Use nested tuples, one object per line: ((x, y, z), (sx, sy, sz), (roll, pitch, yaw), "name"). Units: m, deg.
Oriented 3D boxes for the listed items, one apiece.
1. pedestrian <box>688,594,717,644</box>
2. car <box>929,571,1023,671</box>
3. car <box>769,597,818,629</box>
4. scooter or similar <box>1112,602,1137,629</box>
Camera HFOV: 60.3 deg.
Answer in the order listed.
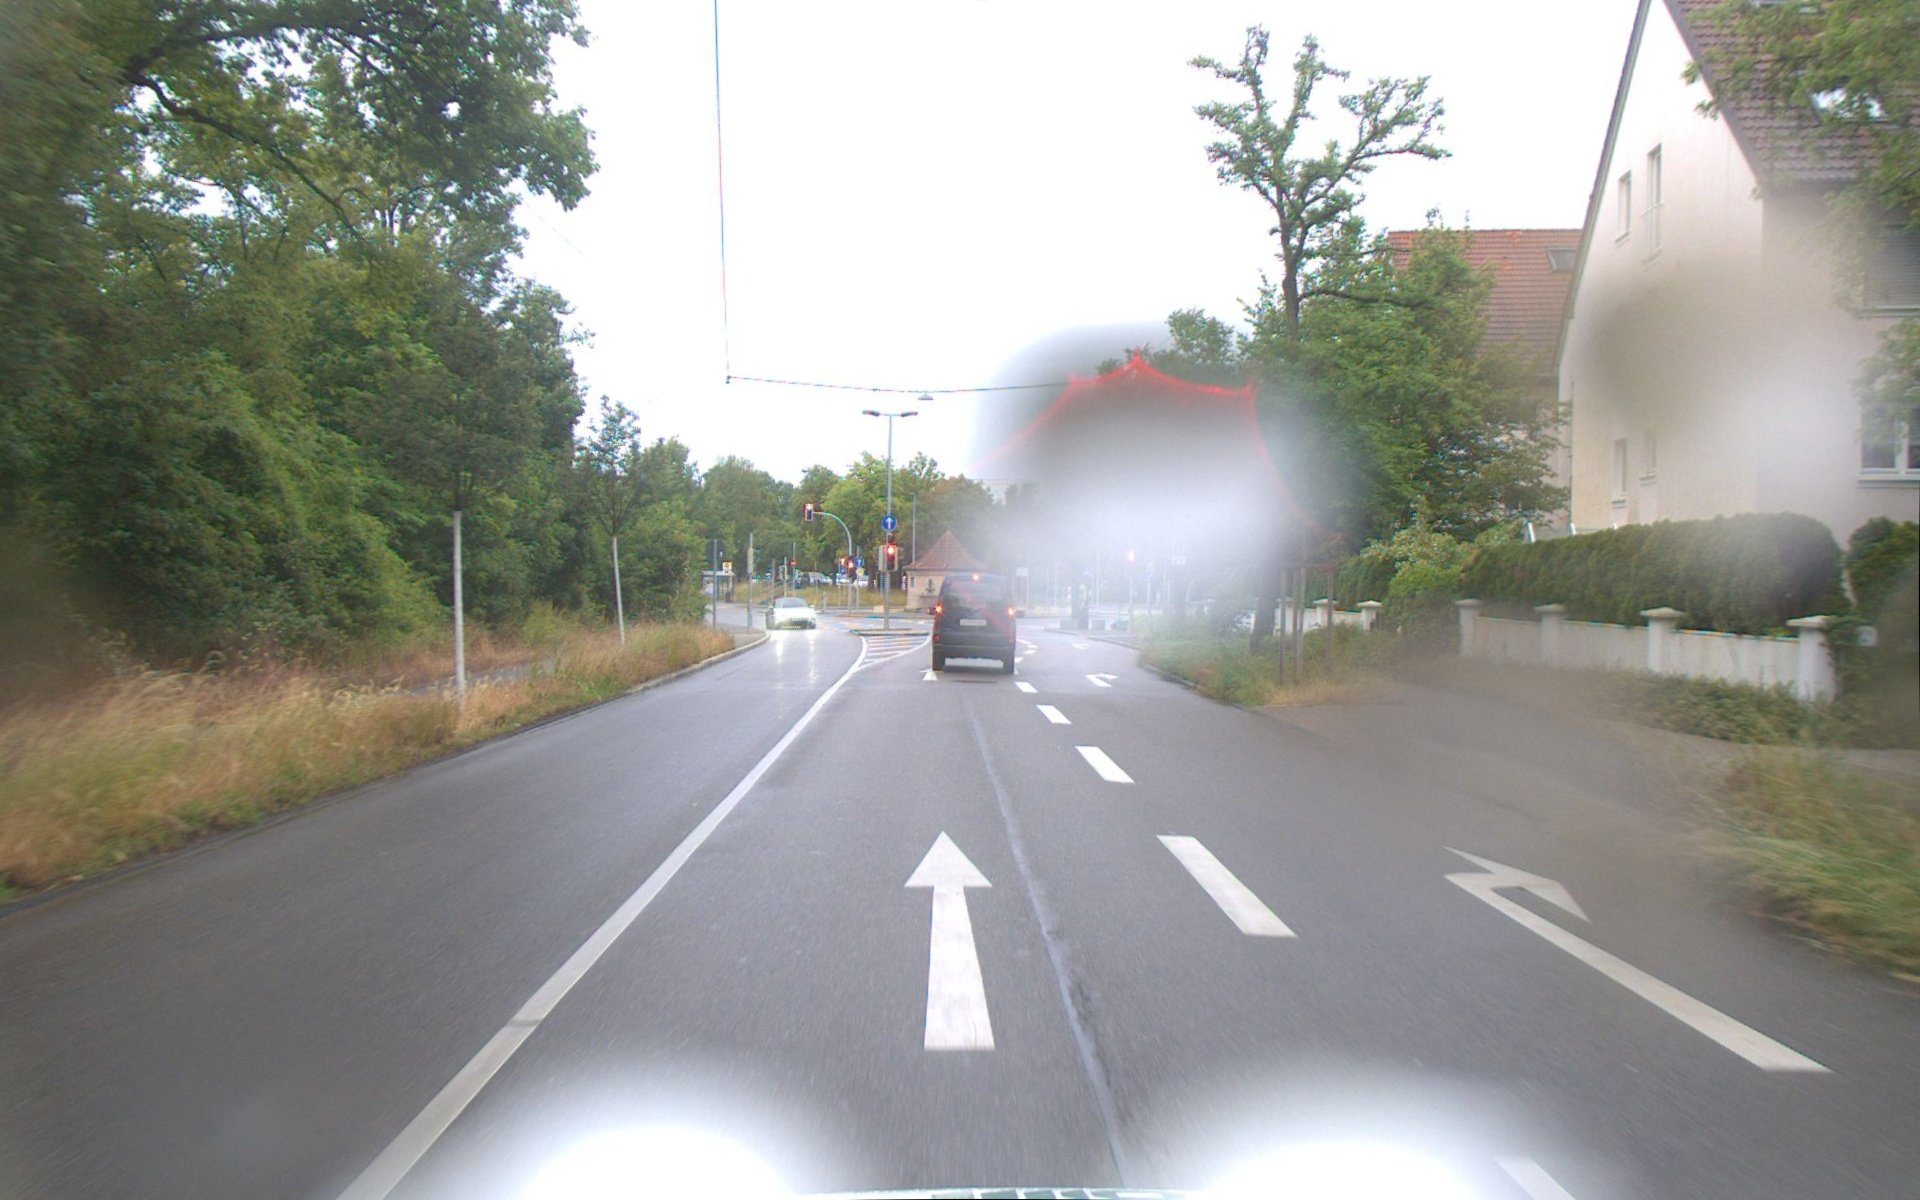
((-10.743, 0.794, 68.979), (1.066, 2.049, 0.999), (2, -1, -4), "pedestrian")
((0.255, 0.378, 32.788), (1.696, 1.817, 3.999), (2, 0, -1), "car")
((-7.652, 0.568, 75.760), (1.957, 1.334, 4.350), (-2, 1, -9), "car")
((7.711, 0.748, 77.557), (1.125, 1.240, 0.406), (1, -1, 0), "scooter or similar")
